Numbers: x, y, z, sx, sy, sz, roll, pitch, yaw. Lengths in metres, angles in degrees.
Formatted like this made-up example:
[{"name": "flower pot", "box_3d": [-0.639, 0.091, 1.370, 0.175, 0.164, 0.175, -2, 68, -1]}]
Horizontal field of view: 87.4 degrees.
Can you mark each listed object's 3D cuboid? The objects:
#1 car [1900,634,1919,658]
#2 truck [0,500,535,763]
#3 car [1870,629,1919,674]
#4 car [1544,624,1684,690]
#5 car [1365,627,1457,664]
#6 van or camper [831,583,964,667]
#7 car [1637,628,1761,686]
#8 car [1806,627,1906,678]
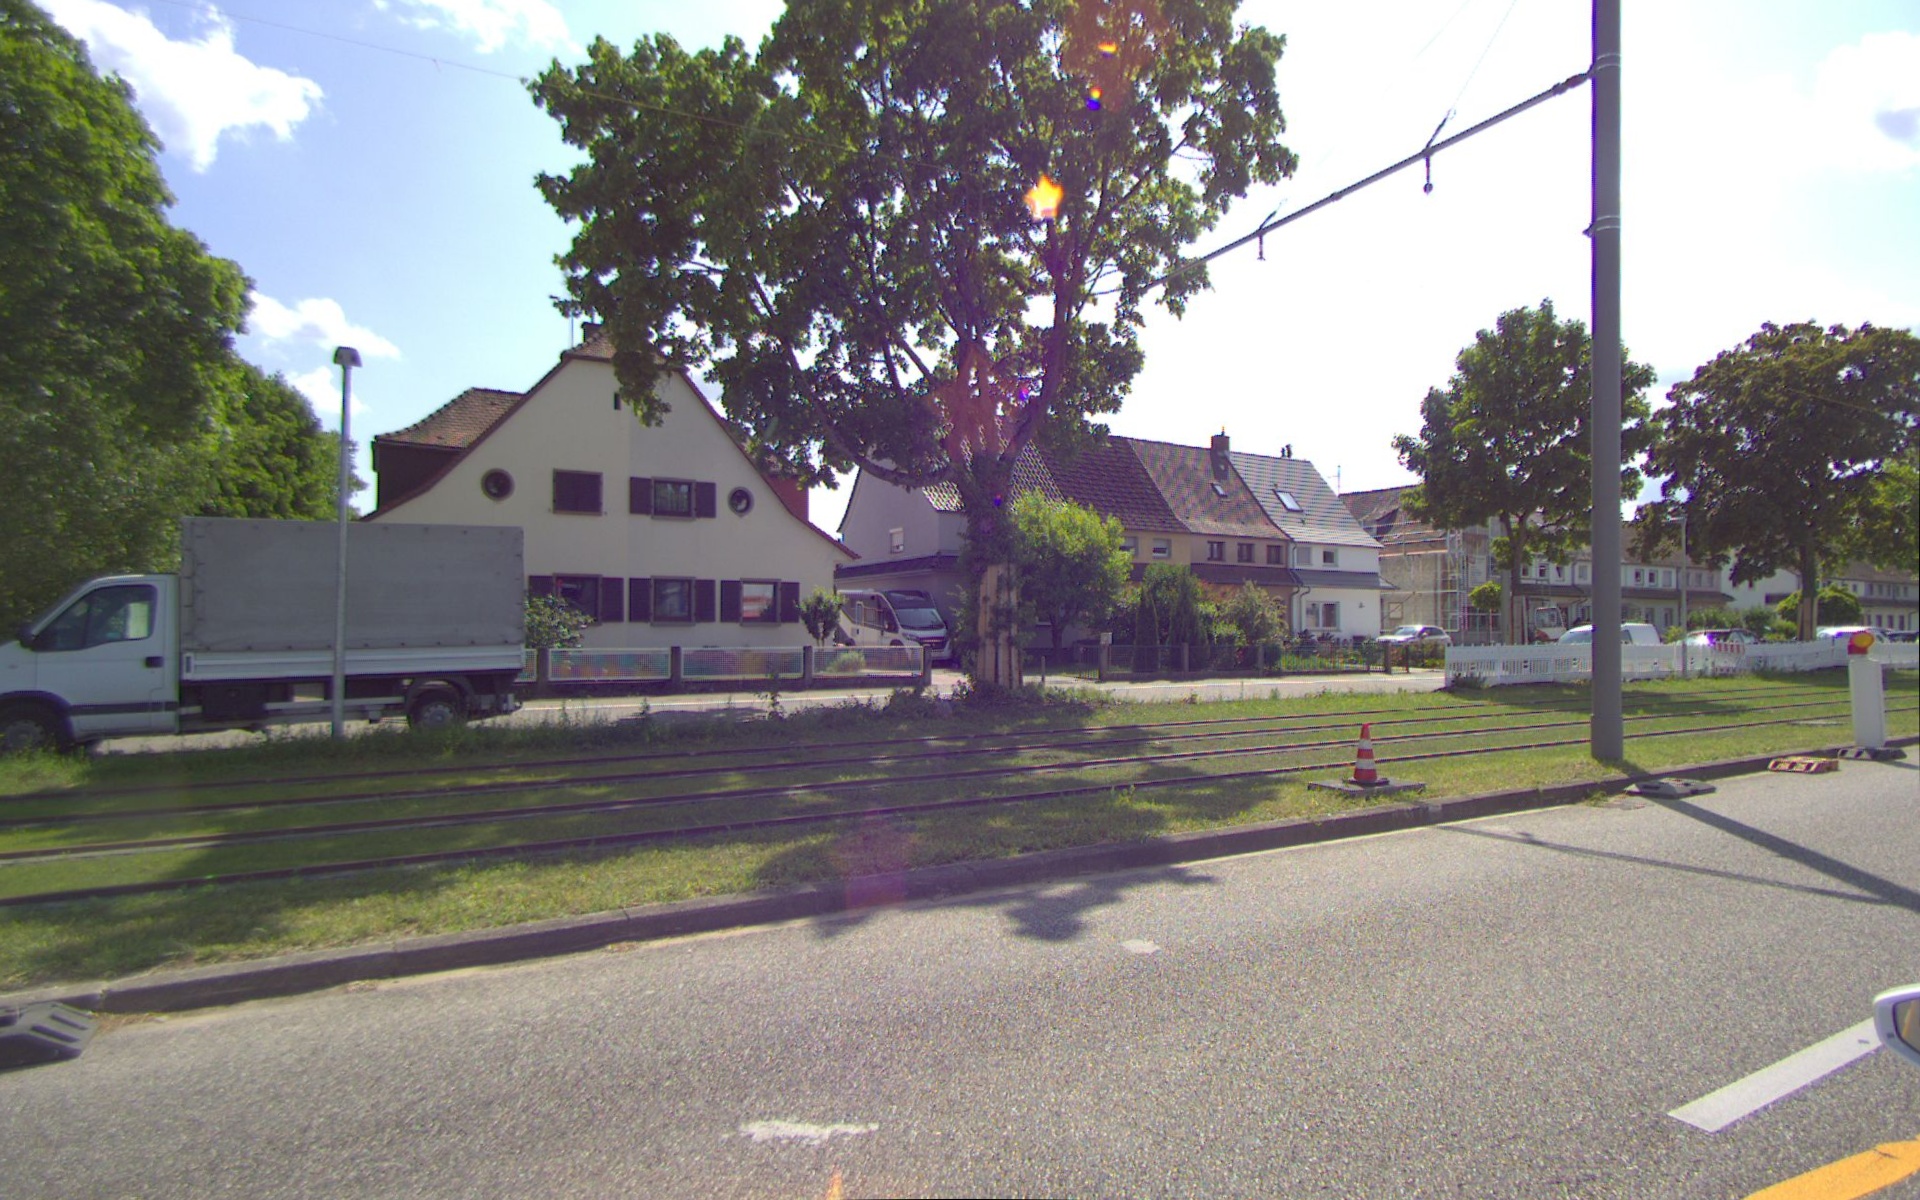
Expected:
[{"name": "car", "box_3d": [70.039, 3.305, 72.743, 4.079, 1.745, 1.768, 1, -2, -30]}, {"name": "truck", "box_3d": [-8.827, 0.404, 12.968, 5.906, 2.817, 2.255, 1, -2, -31]}, {"name": "car", "box_3d": [40.653, 2.166, 42.694, 4.079, 1.829, 1.768, 1, -2, -30]}, {"name": "car", "box_3d": [19.574, 1.645, 30.030, 4.312, 1.845, 1.768, 1, -2, -30]}, {"name": "car", "box_3d": [19.997, 1.991, 44.493, 3.952, 1.539, 1.768, 1, -2, -30]}, {"name": "van or camper", "box_3d": [-2.416, 0.938, 36.618, 2.269, 2.801, 6.051, 1, -2, -32]}, {"name": "car", "box_3d": [24.298, 1.831, 32.998, 4.177, 1.797, 1.768, 1, -2, -30]}, {"name": "car", "box_3d": [35.369, 2.032, 39.637, 4.079, 1.892, 1.768, 1, -2, -30]}]
